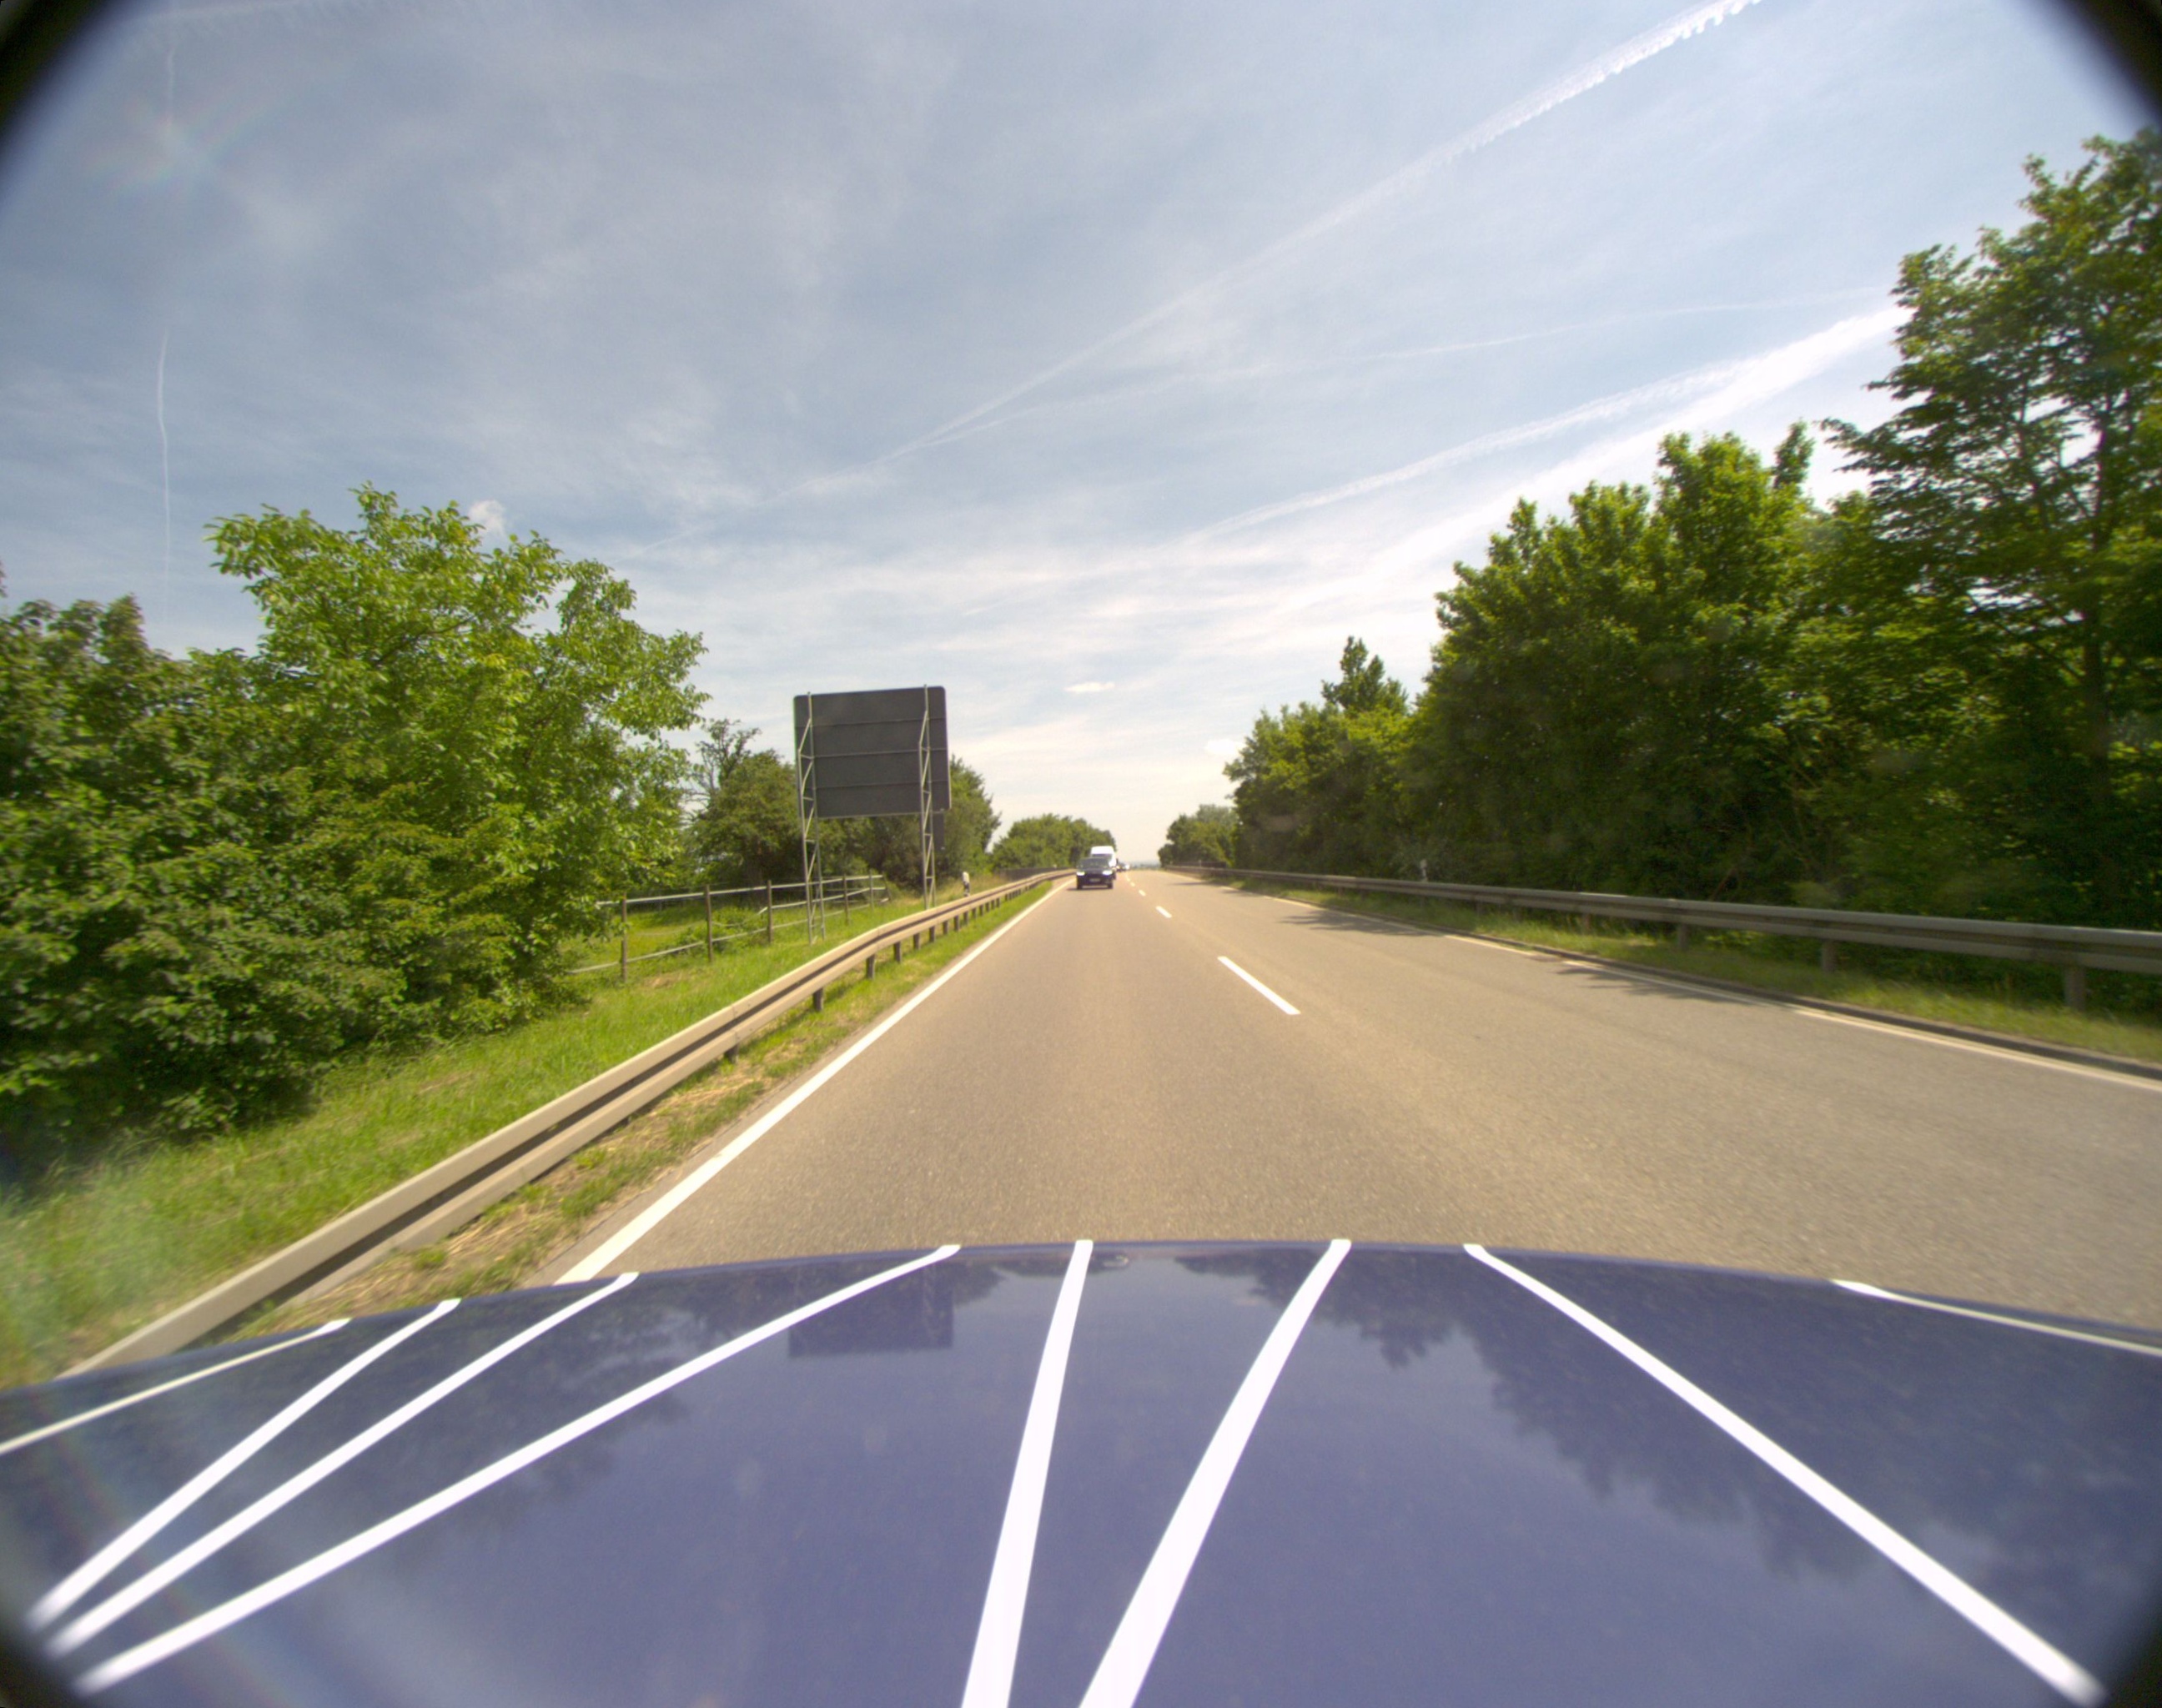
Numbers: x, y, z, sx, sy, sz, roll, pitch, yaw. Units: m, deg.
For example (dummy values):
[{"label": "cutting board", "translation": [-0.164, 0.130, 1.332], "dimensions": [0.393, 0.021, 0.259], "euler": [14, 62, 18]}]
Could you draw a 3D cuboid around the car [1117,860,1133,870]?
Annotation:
[{"label": "car", "translation": [7.232, 1.819, 124.322], "dimensions": [2.037, 1.641, 4.748], "euler": [-2, -1, 9]}]

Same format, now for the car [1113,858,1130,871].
[{"label": "car", "translation": [5.733, 1.466, 106.883], "dimensions": [2.038, 1.641, 4.747], "euler": [-1, -1, 7]}]

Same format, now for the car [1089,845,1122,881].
[{"label": "car", "translation": [1.977, 0.634, 60.359], "dimensions": [2.225, 2.617, 5.754], "euler": [-2, 1, 5]}]

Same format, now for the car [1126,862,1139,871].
[{"label": "car", "translation": [9.782, 2.372, 145.005], "dimensions": [2.037, 1.641, 4.748], "euler": [-2, -1, 9]}]

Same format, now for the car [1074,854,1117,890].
[{"label": "car", "translation": [0.835, 0.895, 40.234], "dimensions": [2.038, 1.691, 5.514], "euler": [-2, 0, 3]}]
